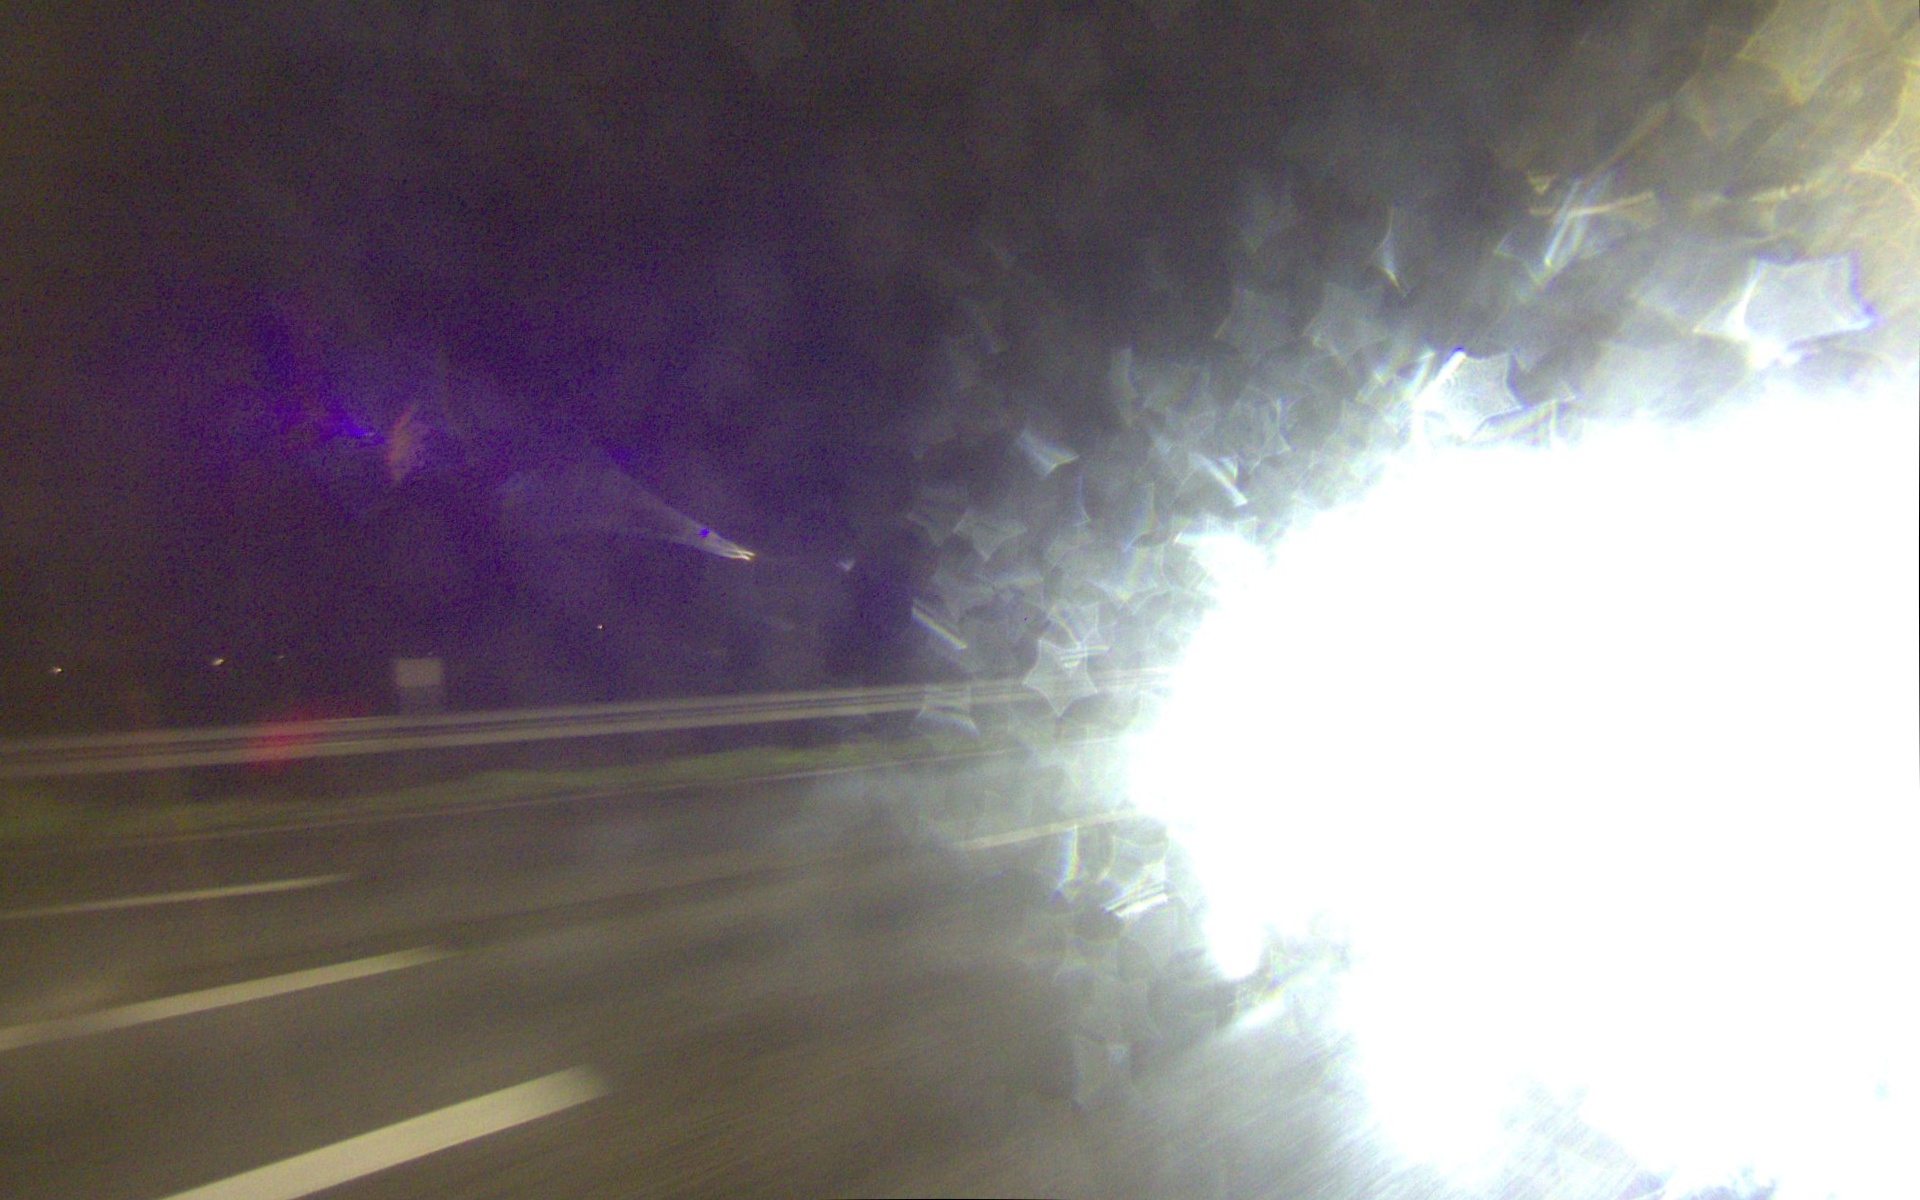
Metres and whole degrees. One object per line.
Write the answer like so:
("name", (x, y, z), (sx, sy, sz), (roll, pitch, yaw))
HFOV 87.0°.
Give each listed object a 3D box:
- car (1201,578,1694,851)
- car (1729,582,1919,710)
("car", (3.928, 0.678, 7.768), (4.478, 1.526, 1.675), (0, -3, -40))
("car", (12.878, 0.554, 14.468), (4.331, 1.541, 1.712), (-2, -1, -35))
